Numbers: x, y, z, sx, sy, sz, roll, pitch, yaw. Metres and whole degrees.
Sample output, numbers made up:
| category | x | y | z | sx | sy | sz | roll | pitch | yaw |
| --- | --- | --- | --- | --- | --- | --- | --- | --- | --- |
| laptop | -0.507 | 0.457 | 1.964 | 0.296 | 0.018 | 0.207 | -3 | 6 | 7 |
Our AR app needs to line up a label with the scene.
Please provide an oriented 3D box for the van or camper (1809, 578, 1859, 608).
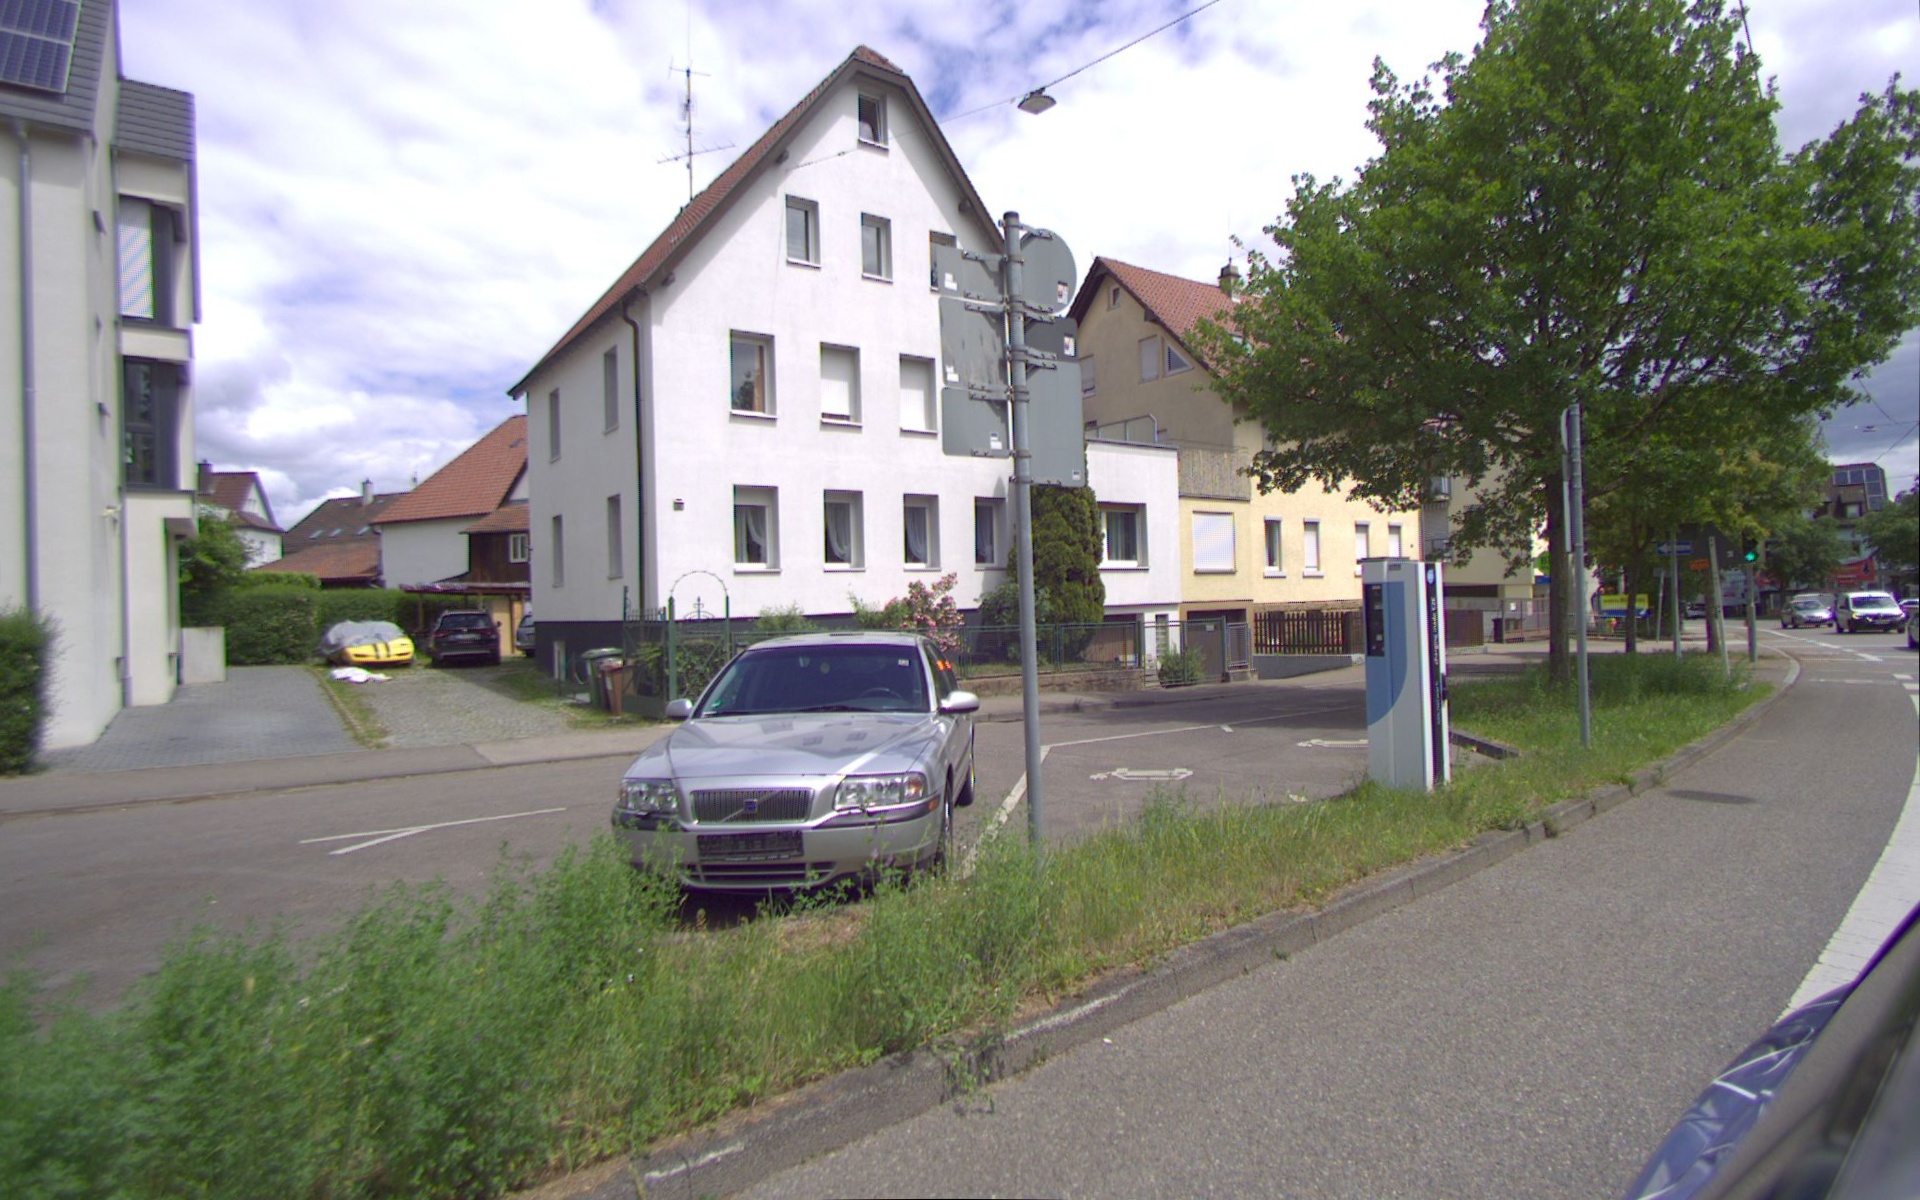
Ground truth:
| category | x | y | z | sx | sy | sz | roll | pitch | yaw |
| --- | --- | --- | --- | --- | --- | --- | --- | --- | --- |
| van or camper | 55.150 | -0.429 | 63.932 | 1.854 | 1.799 | 4.326 | -2 | -1 | 34 |

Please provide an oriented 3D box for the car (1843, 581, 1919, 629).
| category | x | y | z | sx | sy | sz | roll | pitch | yaw |
| --- | --- | --- | --- | --- | --- | --- | --- | --- | --- |
| car | 39.613 | 0.193 | 43.521 | 1.840 | 1.839 | 3.952 | -5 | -2 | 34 |

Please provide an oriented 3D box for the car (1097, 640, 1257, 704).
| category | x | y | z | sx | sy | sz | roll | pitch | yaw |
| --- | --- | --- | --- | --- | --- | --- | --- | --- | --- |
| car | 5.135 | 1.658 | 23.750 | 3.801 | 1.139 | 1.465 | -3 | -2 | -37 |

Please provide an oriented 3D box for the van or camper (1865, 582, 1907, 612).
| category | x | y | z | sx | sy | sz | roll | pitch | yaw |
| --- | --- | --- | --- | --- | --- | --- | --- | --- | --- |
| van or camper | 71.793 | -0.258 | 78.503 | 1.783 | 2.116 | 3.764 | -5 | -2 | 35 |

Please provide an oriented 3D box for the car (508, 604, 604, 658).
| category | x | y | z | sx | sy | sz | roll | pitch | yaw |
| --- | --- | --- | --- | --- | --- | --- | --- | --- | --- |
| car | -12.810 | 0.949 | 32.276 | 1.425 | 1.544 | 3.359 | 1 | 0 | 5 |

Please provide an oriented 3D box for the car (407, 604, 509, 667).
| category | x | y | z | sx | sy | sz | roll | pitch | yaw |
| --- | --- | --- | --- | --- | --- | --- | --- | --- | --- |
| car | -14.558 | 1.002 | 29.246 | 1.963 | 1.661 | 3.997 | 0 | -1 | -36 |

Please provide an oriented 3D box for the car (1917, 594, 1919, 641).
| category | x | y | z | sx | sy | sz | roll | pitch | yaw |
| --- | --- | --- | --- | --- | --- | --- | --- | --- | --- |
| car | 28.875 | 0.497 | 28.815 | 1.830 | 1.408 | 3.947 | -1 | -2 | 36 |

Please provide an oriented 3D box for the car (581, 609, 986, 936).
| category | x | y | z | sx | sy | sz | roll | pitch | yaw |
| --- | --- | --- | --- | --- | --- | --- | --- | --- | --- |
| car | -0.774 | 0.861 | 7.040 | 1.736 | 1.470 | 4.684 | -2 | -2 | 3 |

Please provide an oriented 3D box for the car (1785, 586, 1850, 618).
| category | x | y | z | sx | sy | sz | roll | pitch | yaw |
| --- | --- | --- | --- | --- | --- | --- | --- | --- | --- |
| car | 45.808 | 0.089 | 54.152 | 1.678 | 1.505 | 3.962 | -5 | -2 | 27 |

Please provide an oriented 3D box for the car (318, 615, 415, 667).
| category | x | y | z | sx | sy | sz | roll | pitch | yaw |
| --- | --- | --- | --- | --- | --- | --- | --- | --- | --- |
| car | -16.722 | 1.100 | 28.443 | 1.963 | 1.349 | 3.998 | 0 | -1 | -36 |
